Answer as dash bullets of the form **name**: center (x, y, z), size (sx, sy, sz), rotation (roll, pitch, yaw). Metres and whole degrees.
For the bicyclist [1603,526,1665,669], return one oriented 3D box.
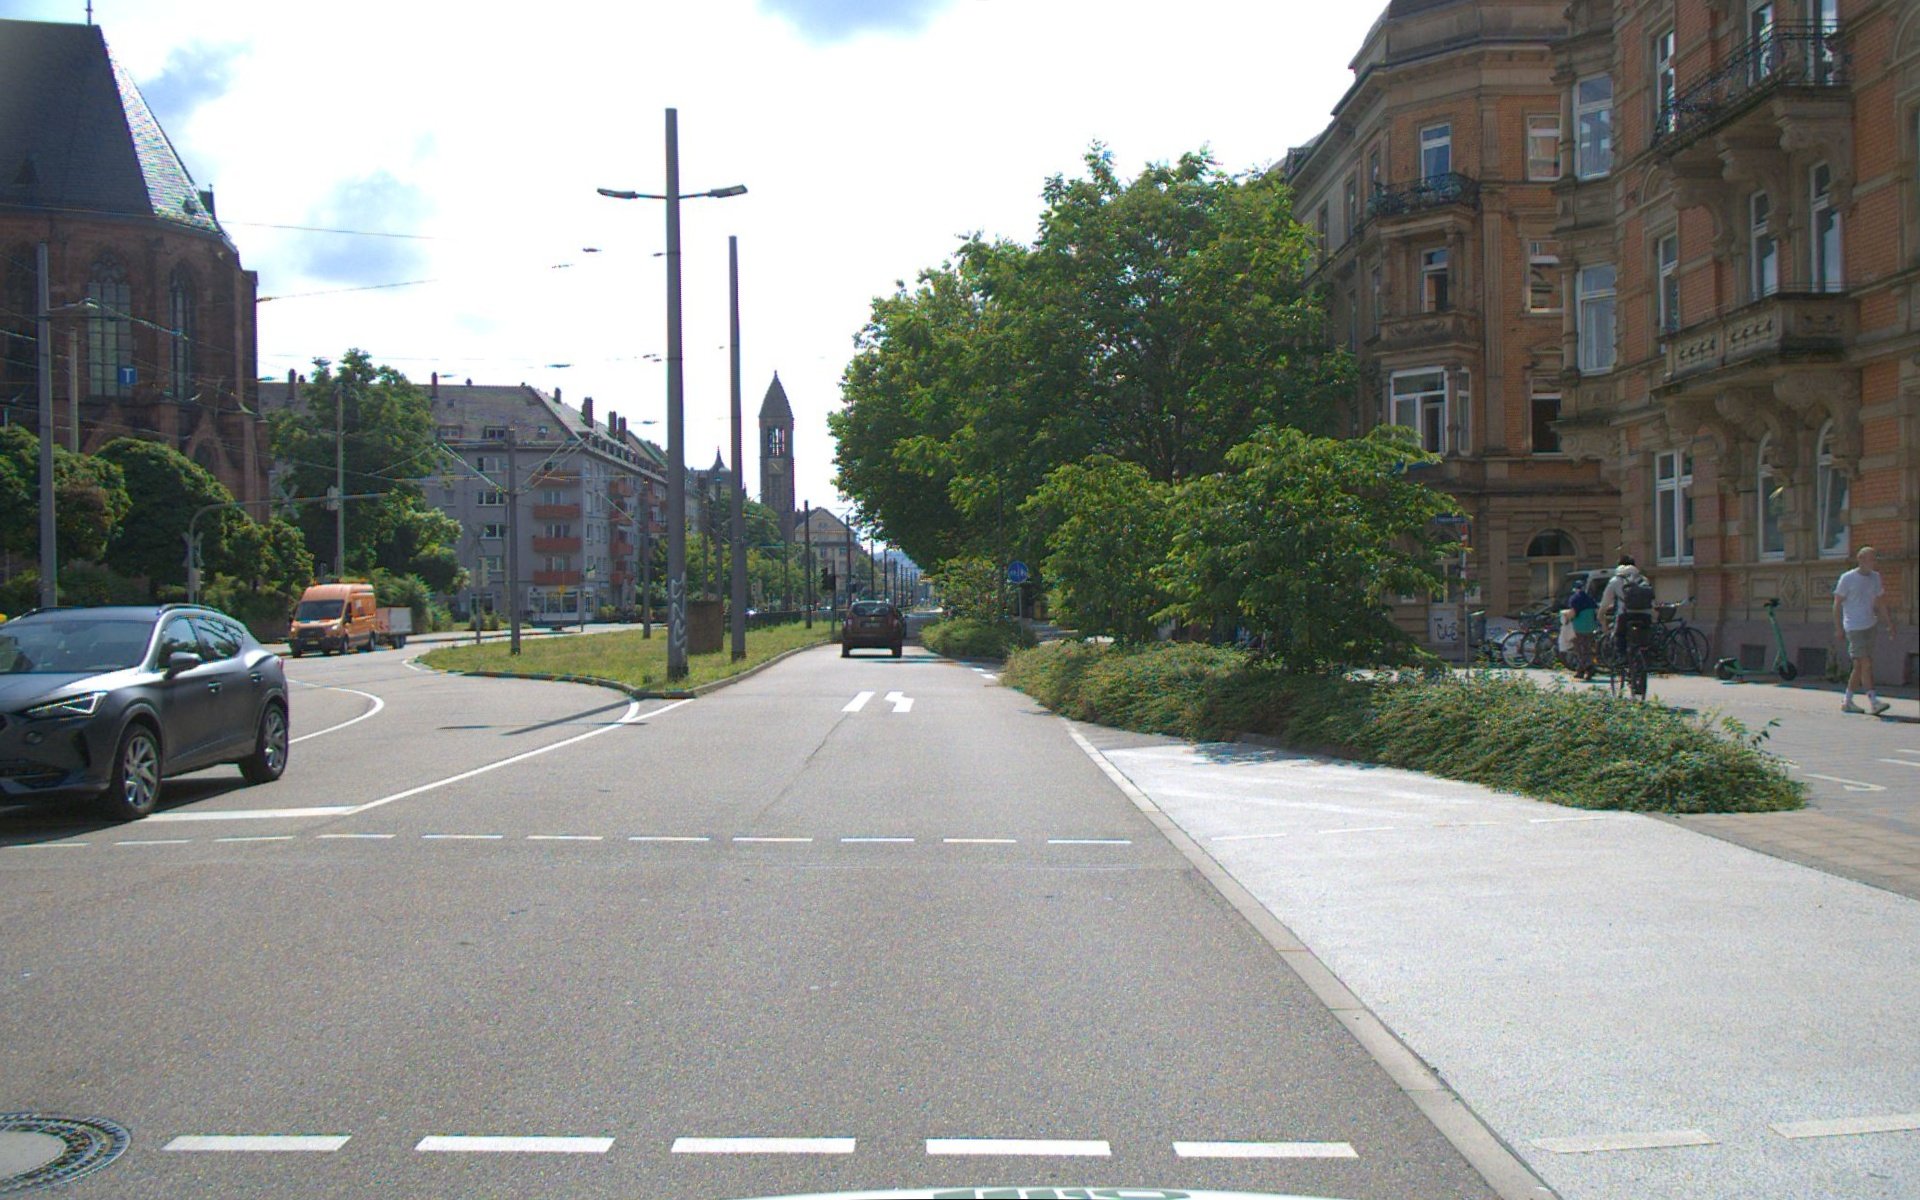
- **bicyclist**: center (8.476, -0.032, 20.812), size (0.418, 1.748, 0.828), rotation (-1, 0, 0)

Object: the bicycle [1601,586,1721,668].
- **bicycle**: center (11.359, 0.432, 26.825), size (1.732, 1.290, 0.467), rotation (-1, 2, 3)

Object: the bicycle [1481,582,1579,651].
- **bicycle**: center (11.004, 0.309, 31.957), size (1.732, 1.290, 0.467), rotation (-1, 2, 3)

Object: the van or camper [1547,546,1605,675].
- **van or camper**: center (9.923, 0.166, 26.649), size (0.652, 2.049, 0.638), rotation (-1, 0, -1)

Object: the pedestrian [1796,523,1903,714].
- **pedestrian**: center (9.795, 0.198, 18.237), size (0.752, 2.049, 0.715), rotation (-1, 0, 0)

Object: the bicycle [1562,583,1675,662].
- **bicycle**: center (11.174, 0.379, 28.082), size (1.732, 1.290, 0.467), rotation (-1, 2, 3)

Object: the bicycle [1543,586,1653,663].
- **bicycle**: center (11.122, 0.427, 28.856), size (1.732, 1.290, 0.467), rotation (-1, 2, 3)

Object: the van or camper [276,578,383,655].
- **van or camper**: center (-24.427, 0.619, 64.395), size (2.211, 2.785, 6.197), rotation (-1, 0, -5)

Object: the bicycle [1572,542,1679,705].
- **bicycle**: center (8.372, 0.283, 20.862), size (0.669, 1.959, 1.589), rotation (-1, 0, 0)

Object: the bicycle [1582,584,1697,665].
- **bicycle**: center (11.244, 0.404, 27.406), size (1.709, 1.290, 0.467), rotation (-1, 2, 3)

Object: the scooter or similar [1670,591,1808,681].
- **scooter or similar**: center (11.365, 0.519, 24.149), size (1.733, 1.205, 0.466), rotation (-3, -1, -1)

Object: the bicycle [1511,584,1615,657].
- **bicycle**: center (11.034, 0.373, 30.281), size (1.732, 1.290, 0.467), rotation (-1, 2, 3)

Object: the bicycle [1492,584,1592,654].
- **bicycle**: center (11.019, 0.354, 31.334), size (1.732, 1.290, 0.467), rotation (-1, 2, 3)

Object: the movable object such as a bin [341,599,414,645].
- **movable object such as a bin**: center (-24.850, 0.913, 70.669), size (2.165, 1.723, 3.712), rotation (-1, 2, -7)

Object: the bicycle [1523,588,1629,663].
- **bicycle**: center (11.041, 0.456, 29.659), size (1.732, 1.290, 0.467), rotation (-1, 2, 3)

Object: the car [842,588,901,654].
- **car**: center (-2.608, 0.592, 49.196), size (1.655, 1.741, 3.608), rotation (-1, 2, -2)

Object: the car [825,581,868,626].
- **car**: center (-5.397, 0.150, 78.906), size (1.954, 2.049, 3.997), rotation (-1, 0, -3)

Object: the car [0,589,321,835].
- **car**: center (-6.620, 0.741, 12.841), size (1.763, 1.579, 4.293), rotation (-1, 0, -2)
